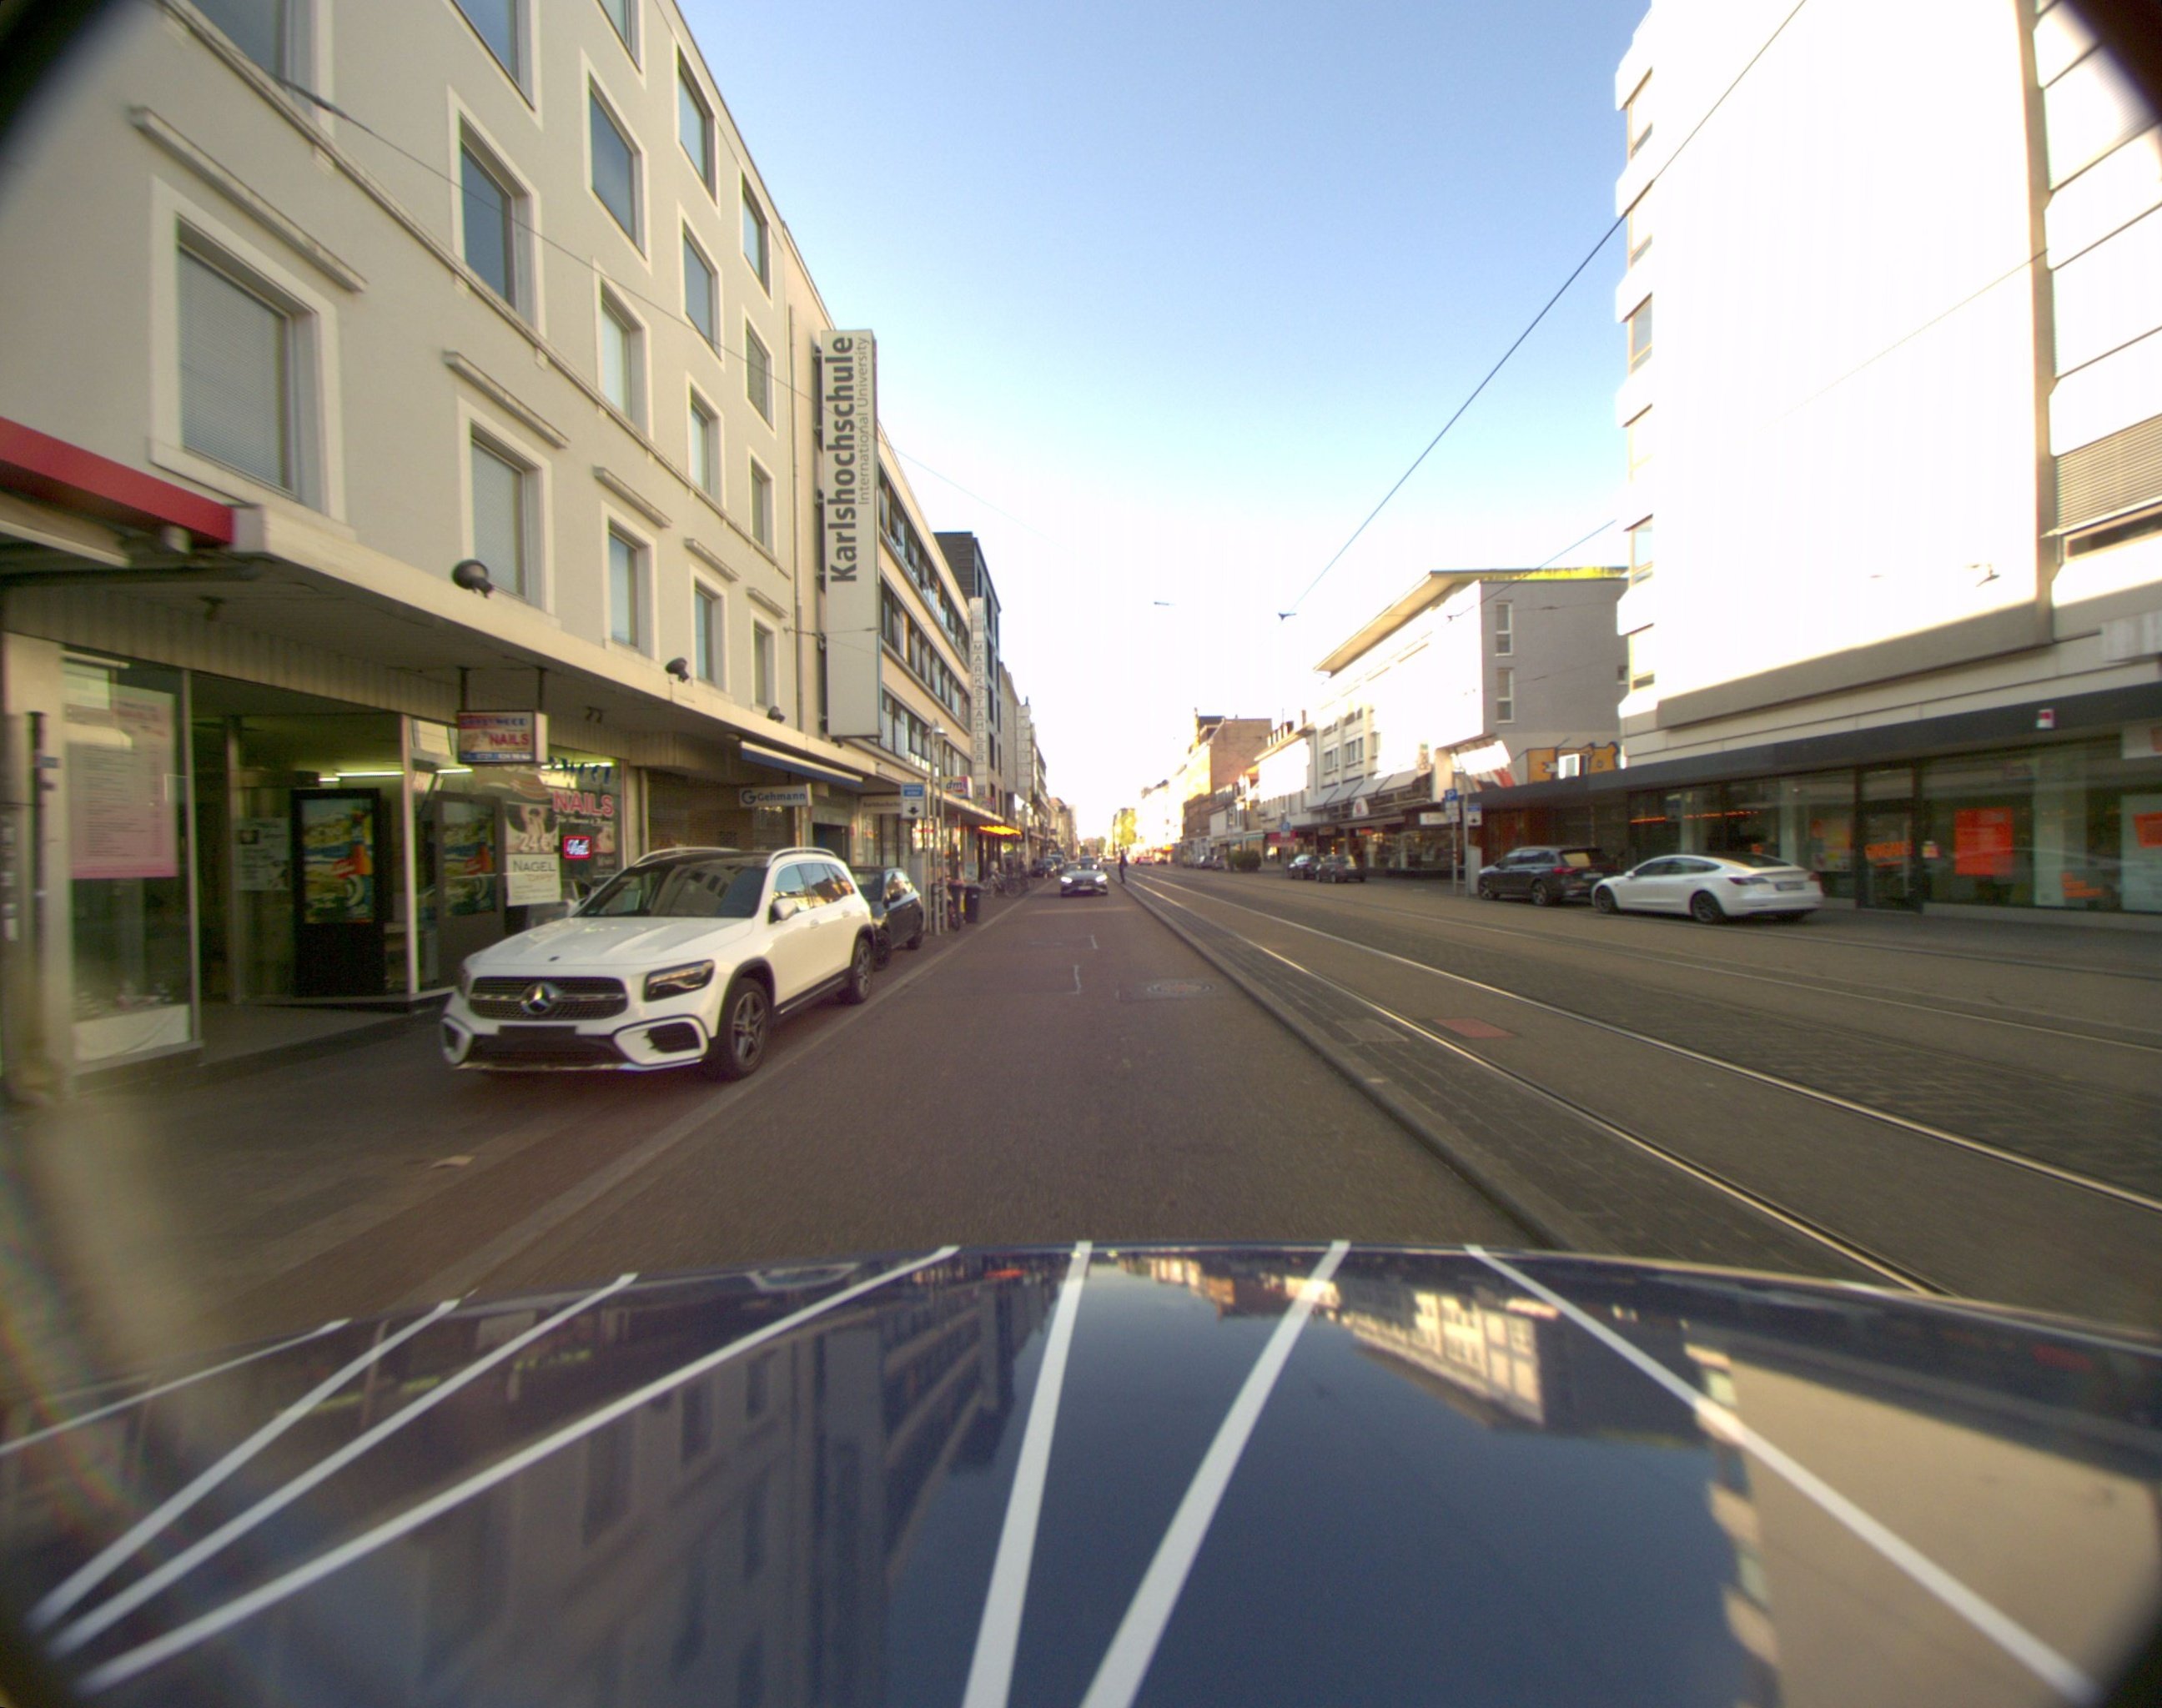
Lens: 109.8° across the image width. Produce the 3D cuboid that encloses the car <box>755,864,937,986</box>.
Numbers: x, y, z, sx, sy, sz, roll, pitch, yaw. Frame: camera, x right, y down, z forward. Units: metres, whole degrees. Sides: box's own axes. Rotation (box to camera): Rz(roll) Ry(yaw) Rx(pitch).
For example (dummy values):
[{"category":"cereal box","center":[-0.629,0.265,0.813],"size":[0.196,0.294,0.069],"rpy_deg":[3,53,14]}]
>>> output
[{"category":"car","center":[-3.506,0.974,12.129],"size":[1.618,1.519,4.070],"rpy_deg":[0,1,0]}]

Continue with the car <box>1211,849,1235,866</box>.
[{"category":"car","center":[13.887,0.320,74.463],"size":[1.701,1.594,2.891],"rpy_deg":[-3,1,0]}]

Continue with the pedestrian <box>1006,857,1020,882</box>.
[{"category":"pedestrian","center":[-3.990,0.911,44.625],"size":[0.584,1.485,0.523],"rpy_deg":[0,1,-35]}]

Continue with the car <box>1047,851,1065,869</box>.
[{"category":"car","center":[-2.895,0.675,87.905],"size":[2.051,1.899,4.877],"rpy_deg":[0,1,-2]}]

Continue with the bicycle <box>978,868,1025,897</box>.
[{"category":"bicycle","center":[-3.169,1.133,30.504],"size":[1.792,1.153,0.669],"rpy_deg":[0,1,0]}]

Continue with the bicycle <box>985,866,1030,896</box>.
[{"category":"bicycle","center":[-3.055,1.119,31.637],"size":[1.792,1.210,0.669],"rpy_deg":[0,1,0]}]

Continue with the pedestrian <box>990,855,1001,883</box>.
[{"category":"pedestrian","center":[-4.962,0.879,44.252],"size":[0.583,1.576,0.597],"rpy_deg":[1,1,-1]}]

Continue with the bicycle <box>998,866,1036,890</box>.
[{"category":"bicycle","center":[-3.074,1.128,36.456],"size":[1.778,1.124,0.478],"rpy_deg":[0,1,-5]}]

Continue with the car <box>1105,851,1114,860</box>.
[{"category":"car","center":[7.088,0.435,190.769],"size":[1.998,2.002,4.000],"rpy_deg":[-3,1,2]}]

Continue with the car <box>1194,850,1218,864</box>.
[{"category":"car","center":[13.708,0.298,83.694],"size":[1.822,1.505,4.762],"rpy_deg":[-2,1,1]}]

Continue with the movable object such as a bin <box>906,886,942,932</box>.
[{"category":"movable object such as a bin","center":[-3.620,1.266,17.555],"size":[0.659,1.008,0.636],"rpy_deg":[0,1,3]}]

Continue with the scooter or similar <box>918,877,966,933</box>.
[{"category":"scooter or similar","center":[-3.075,1.126,16.842],"size":[0.995,1.224,0.320],"rpy_deg":[1,1,-1]}]

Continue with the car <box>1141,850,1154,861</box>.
[{"category":"car","center":[10.909,0.247,124.677],"size":[1.802,1.625,3.676],"rpy_deg":[-1,1,1]}]

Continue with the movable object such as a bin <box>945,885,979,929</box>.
[{"category":"movable object such as a bin","center":[-2.842,1.271,18.146],"size":[0.688,1.008,0.508],"rpy_deg":[0,1,3]}]

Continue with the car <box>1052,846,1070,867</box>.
[{"category":"car","center":[-2.456,0.365,95.011],"size":[2.051,2.486,5.687],"rpy_deg":[-3,-1,0]}]

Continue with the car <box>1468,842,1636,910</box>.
[{"category":"car","center":[13.399,0.550,22.029],"size":[1.983,1.669,4.655],"rpy_deg":[-3,1,1]}]

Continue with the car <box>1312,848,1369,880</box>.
[{"category":"car","center":[13.504,0.490,39.698],"size":[1.605,1.514,3.588],"rpy_deg":[-3,1,-2]}]

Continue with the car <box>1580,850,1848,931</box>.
[{"category":"car","center":[13.401,0.665,16.571],"size":[1.893,1.413,4.655],"rpy_deg":[-3,1,-1]}]

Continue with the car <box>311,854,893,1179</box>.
[{"category":"car","center":[-3.252,0.893,6.738],"size":[1.854,1.714,5.192],"rpy_deg":[1,1,0]}]

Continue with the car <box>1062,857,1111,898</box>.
[{"category":"car","center":[0.210,0.898,31.351],"size":[1.858,1.463,4.785],"rpy_deg":[-1,1,0]}]

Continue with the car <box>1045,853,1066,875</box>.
[{"category":"car","center":[-2.274,0.888,67.325],"size":[1.821,1.849,4.548],"rpy_deg":[0,1,-3]}]

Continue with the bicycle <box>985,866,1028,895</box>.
[{"category":"bicycle","center":[-3.206,1.116,32.661],"size":[1.792,1.210,0.587],"rpy_deg":[0,1,0]}]

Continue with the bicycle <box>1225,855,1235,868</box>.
[{"category":"bicycle","center":[13.128,0.661,67.081],"size":[0.519,1.084,1.716],"rpy_deg":[-3,1,1]}]

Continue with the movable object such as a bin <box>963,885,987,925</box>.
[{"category":"movable object such as a bin","center":[-2.604,1.247,18.676],"size":[0.489,0.952,0.458],"rpy_deg":[0,1,4]}]

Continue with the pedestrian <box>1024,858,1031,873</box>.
[{"category":"pedestrian","center":[-5.036,1.094,71.147],"size":[0.577,1.431,0.731],"rpy_deg":[1,1,0]}]

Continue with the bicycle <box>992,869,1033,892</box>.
[{"category":"bicycle","center":[-3.076,1.197,34.166],"size":[1.778,1.026,0.597],"rpy_deg":[0,1,0]}]

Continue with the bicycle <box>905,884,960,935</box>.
[{"category":"bicycle","center":[-3.216,1.211,16.496],"size":[1.134,1.073,0.320],"rpy_deg":[1,1,-1]}]

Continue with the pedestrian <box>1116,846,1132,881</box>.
[{"category":"pedestrian","center":[2.258,0.473,39.987],"size":[0.806,1.827,0.746],"rpy_deg":[0,1,-1]}]

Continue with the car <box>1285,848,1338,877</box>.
[{"category":"car","center":[13.780,0.456,45.676],"size":[1.741,1.514,4.851],"rpy_deg":[-3,1,1]}]

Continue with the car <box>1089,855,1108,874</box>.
[{"category":"car","center":[1.563,0.940,67.994],"size":[1.630,1.593,3.330],"rpy_deg":[1,1,1]}]

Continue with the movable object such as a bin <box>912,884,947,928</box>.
[{"category":"movable object such as a bin","center":[-3.634,1.239,18.241],"size":[0.659,1.008,0.636],"rpy_deg":[0,1,3]}]

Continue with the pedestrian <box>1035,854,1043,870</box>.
[{"category":"pedestrian","center":[-4.042,0.743,73.456],"size":[0.697,1.499,0.814],"rpy_deg":[-1,1,0]}]

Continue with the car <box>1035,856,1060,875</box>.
[{"category":"car","center":[-2.668,0.895,61.278],"size":[1.726,1.476,4.416],"rpy_deg":[1,1,0]}]

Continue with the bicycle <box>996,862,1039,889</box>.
[{"category":"bicycle","center":[-3.125,1.048,37.274],"size":[2.043,1.267,0.524],"rpy_deg":[0,1,-9]}]

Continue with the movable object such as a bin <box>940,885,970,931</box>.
[{"category":"movable object such as a bin","center":[-2.893,1.236,17.452],"size":[0.523,1.008,0.671],"rpy_deg":[0,1,3]}]
